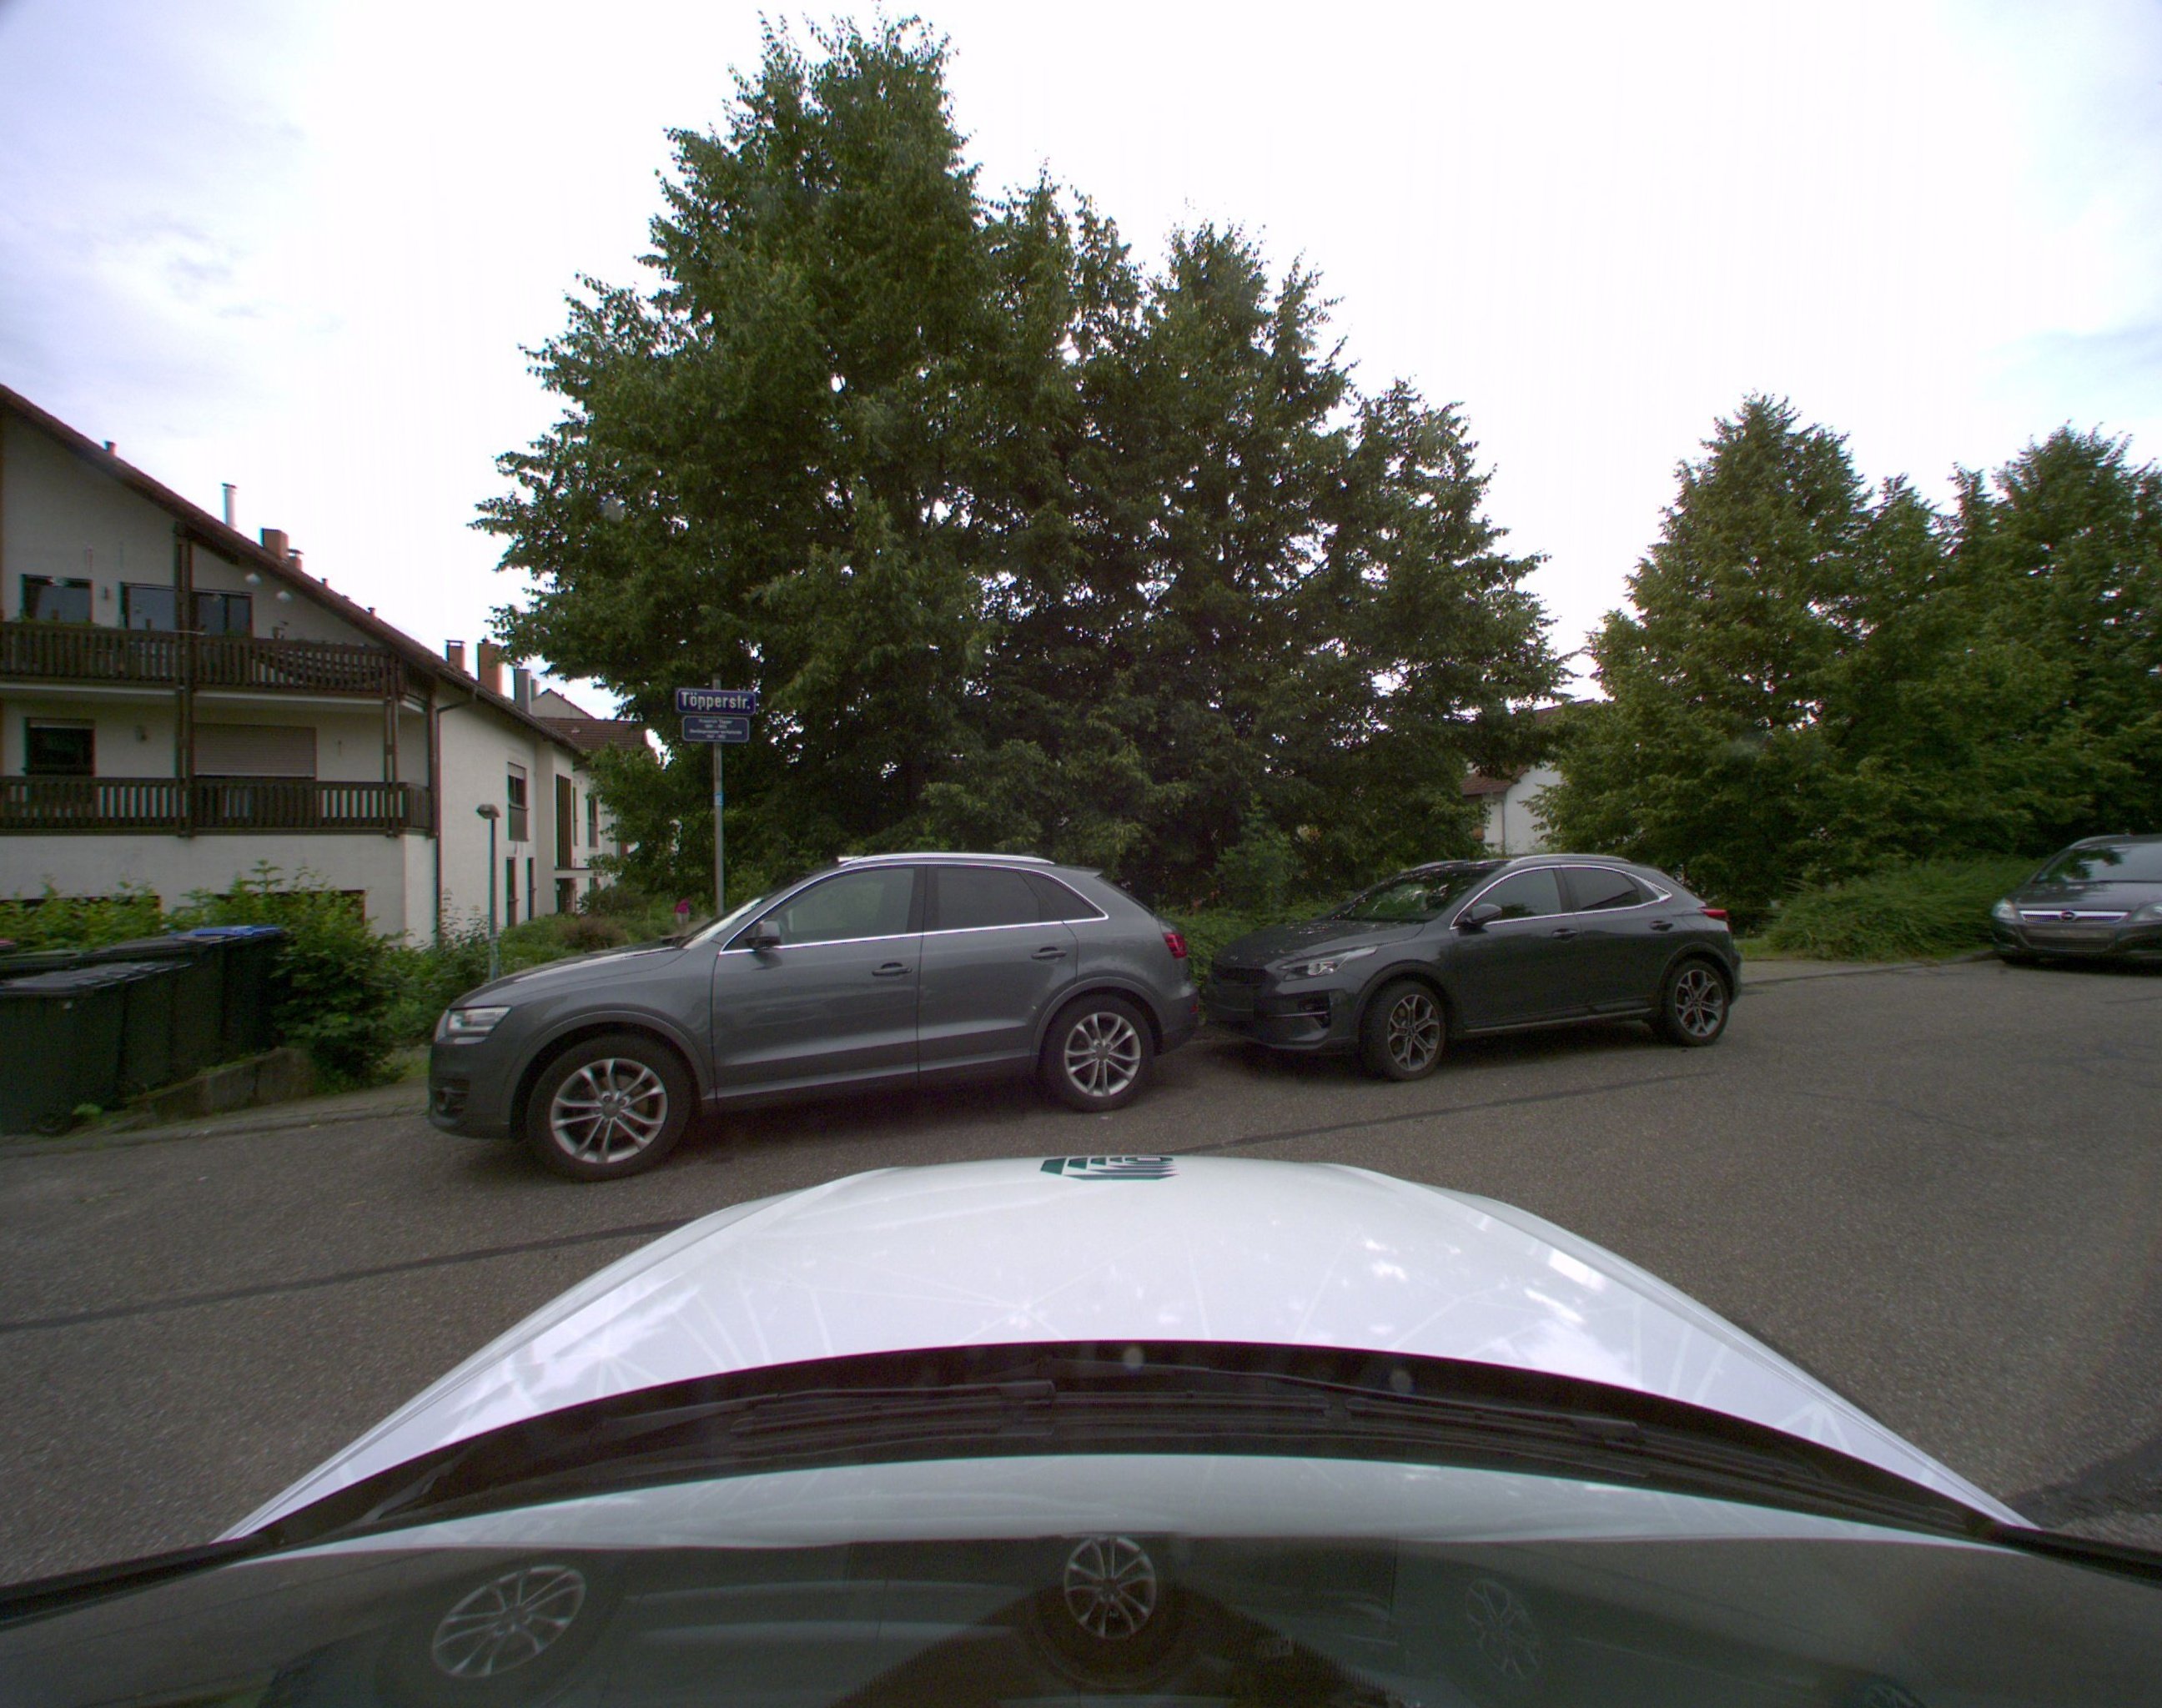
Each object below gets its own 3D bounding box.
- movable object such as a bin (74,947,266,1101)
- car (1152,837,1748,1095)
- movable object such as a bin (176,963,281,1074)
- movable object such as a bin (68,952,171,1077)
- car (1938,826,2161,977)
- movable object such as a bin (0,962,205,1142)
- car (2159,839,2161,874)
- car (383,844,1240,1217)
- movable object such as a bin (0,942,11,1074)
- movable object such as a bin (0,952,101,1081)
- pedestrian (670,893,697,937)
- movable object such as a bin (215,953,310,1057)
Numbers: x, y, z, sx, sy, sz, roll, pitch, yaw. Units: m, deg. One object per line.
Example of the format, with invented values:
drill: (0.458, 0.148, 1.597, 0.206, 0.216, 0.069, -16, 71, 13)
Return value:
movable object such as a bin: (-6.597, 1.203, 5.940, 0.736, 0.953, 0.580, 0, -1, -22)
car: (2.853, 0.707, 6.486, 4.191, 1.531, 1.737, -1, -2, -17)
movable object such as a bin: (-6.894, 1.315, 6.601, 0.461, 0.797, 0.376, 0, -1, -22)
movable object such as a bin: (-7.573, 1.247, 6.428, 0.387, 0.890, 0.376, 0, -1, -24)
car: (13.304, 0.496, 10.211, 4.552, 1.594, 1.751, -1, -2, -19)
movable object such as a bin: (-6.345, 1.239, 5.289, 0.641, 0.953, 0.717, 0, -1, -22)
car: (18.444, 0.429, 11.927, 4.301, 1.479, 1.753, -1, -2, -17)
car: (-1.319, 0.771, 5.082, 4.254, 1.531, 1.734, -1, -2, -22)
movable object such as a bin: (-8.438, 1.178, 6.016, 0.539, 0.994, 0.335, 0, -1, -24)
movable object such as a bin: (-7.952, 1.234, 6.270, 0.387, 0.901, 0.376, 0, -1, -24)
pedestrian: (-14.418, 2.216, 29.561, 0.819, 1.517, 0.435, -1, -1, -24)
movable object such as a bin: (-7.034, 1.280, 7.013, 0.461, 0.797, 0.376, 0, -1, -22)
